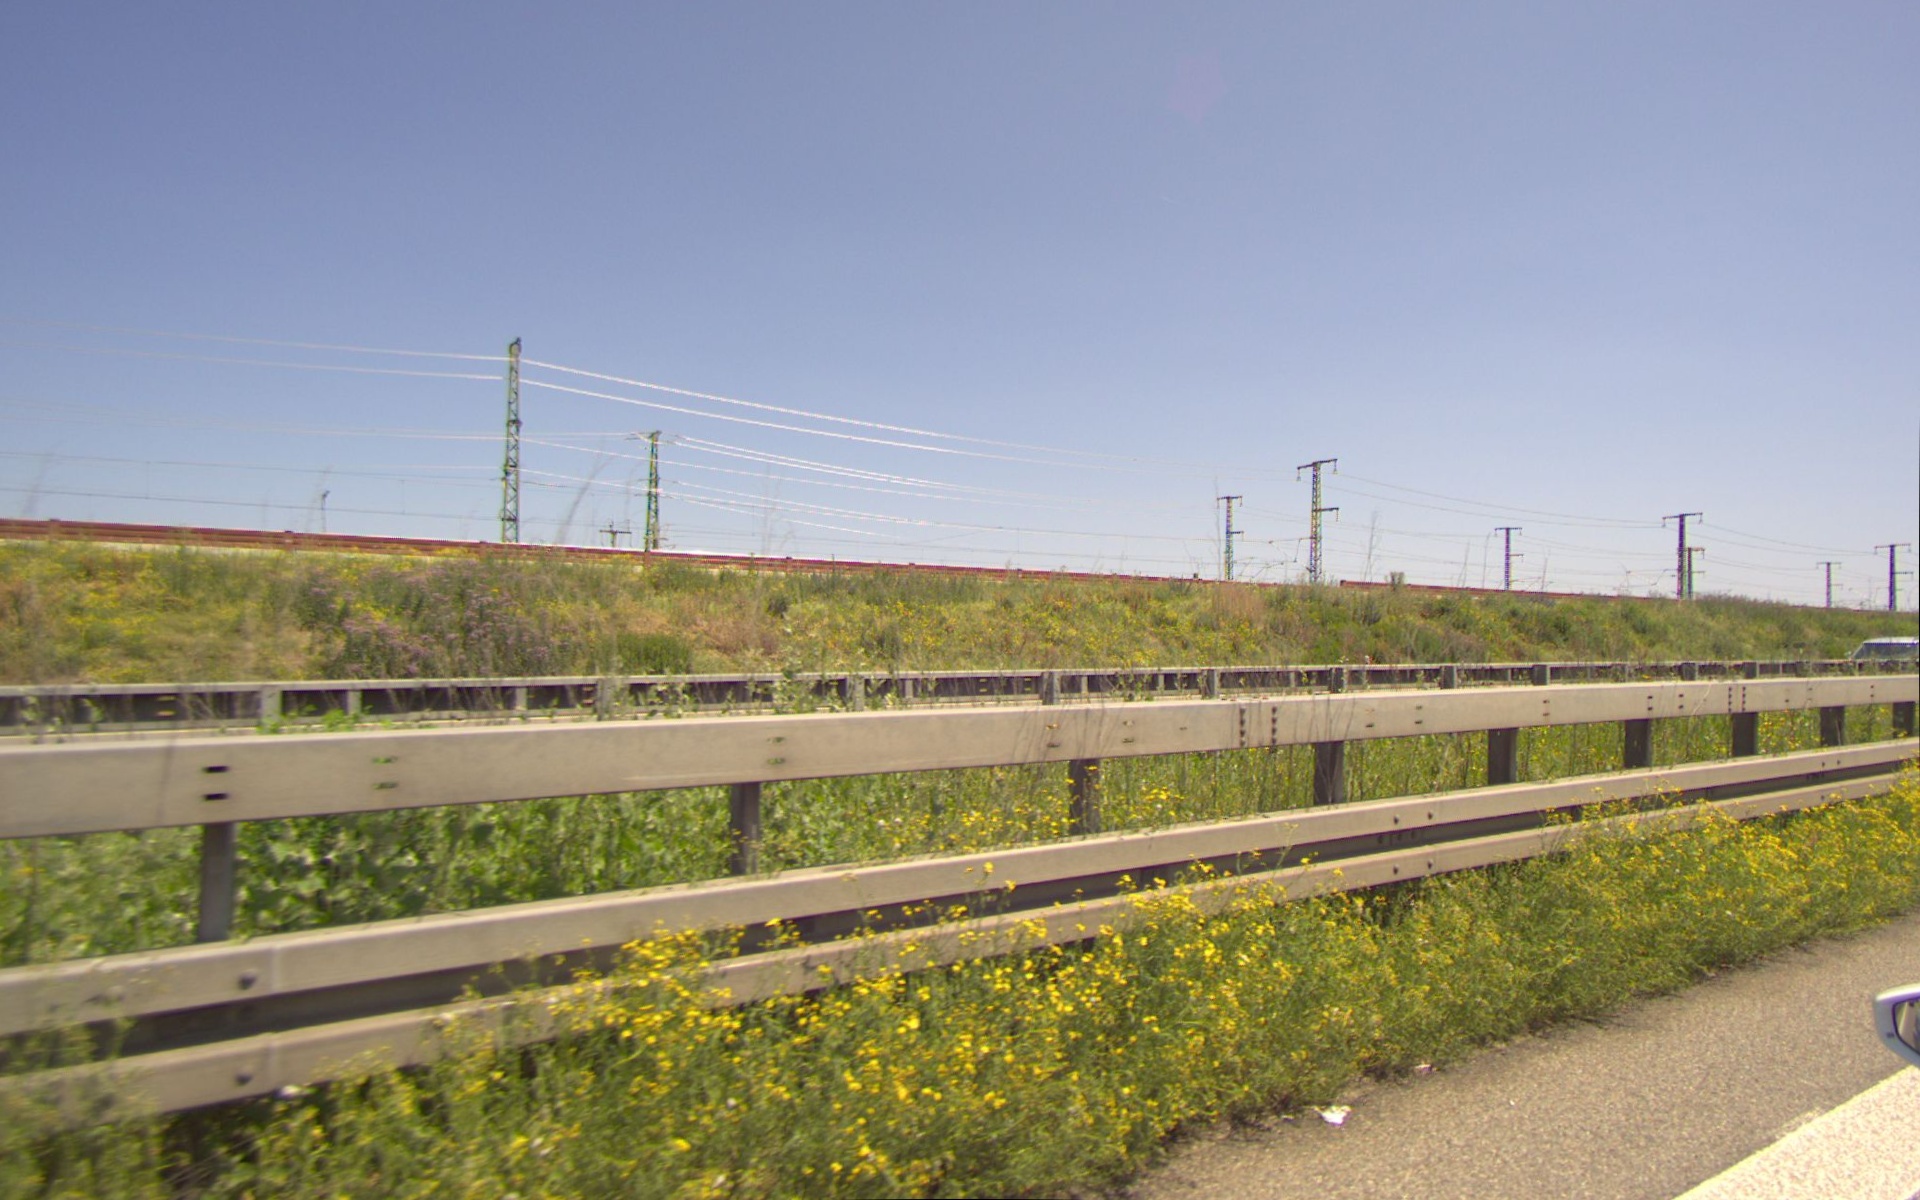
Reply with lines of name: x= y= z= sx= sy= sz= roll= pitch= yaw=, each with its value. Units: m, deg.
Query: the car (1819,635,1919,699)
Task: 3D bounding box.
car: x=28.342 y=1.984 z=30.620 sx=4.505 sy=1.758 sz=1.983 roll=2 pitch=-1 yaw=-31
